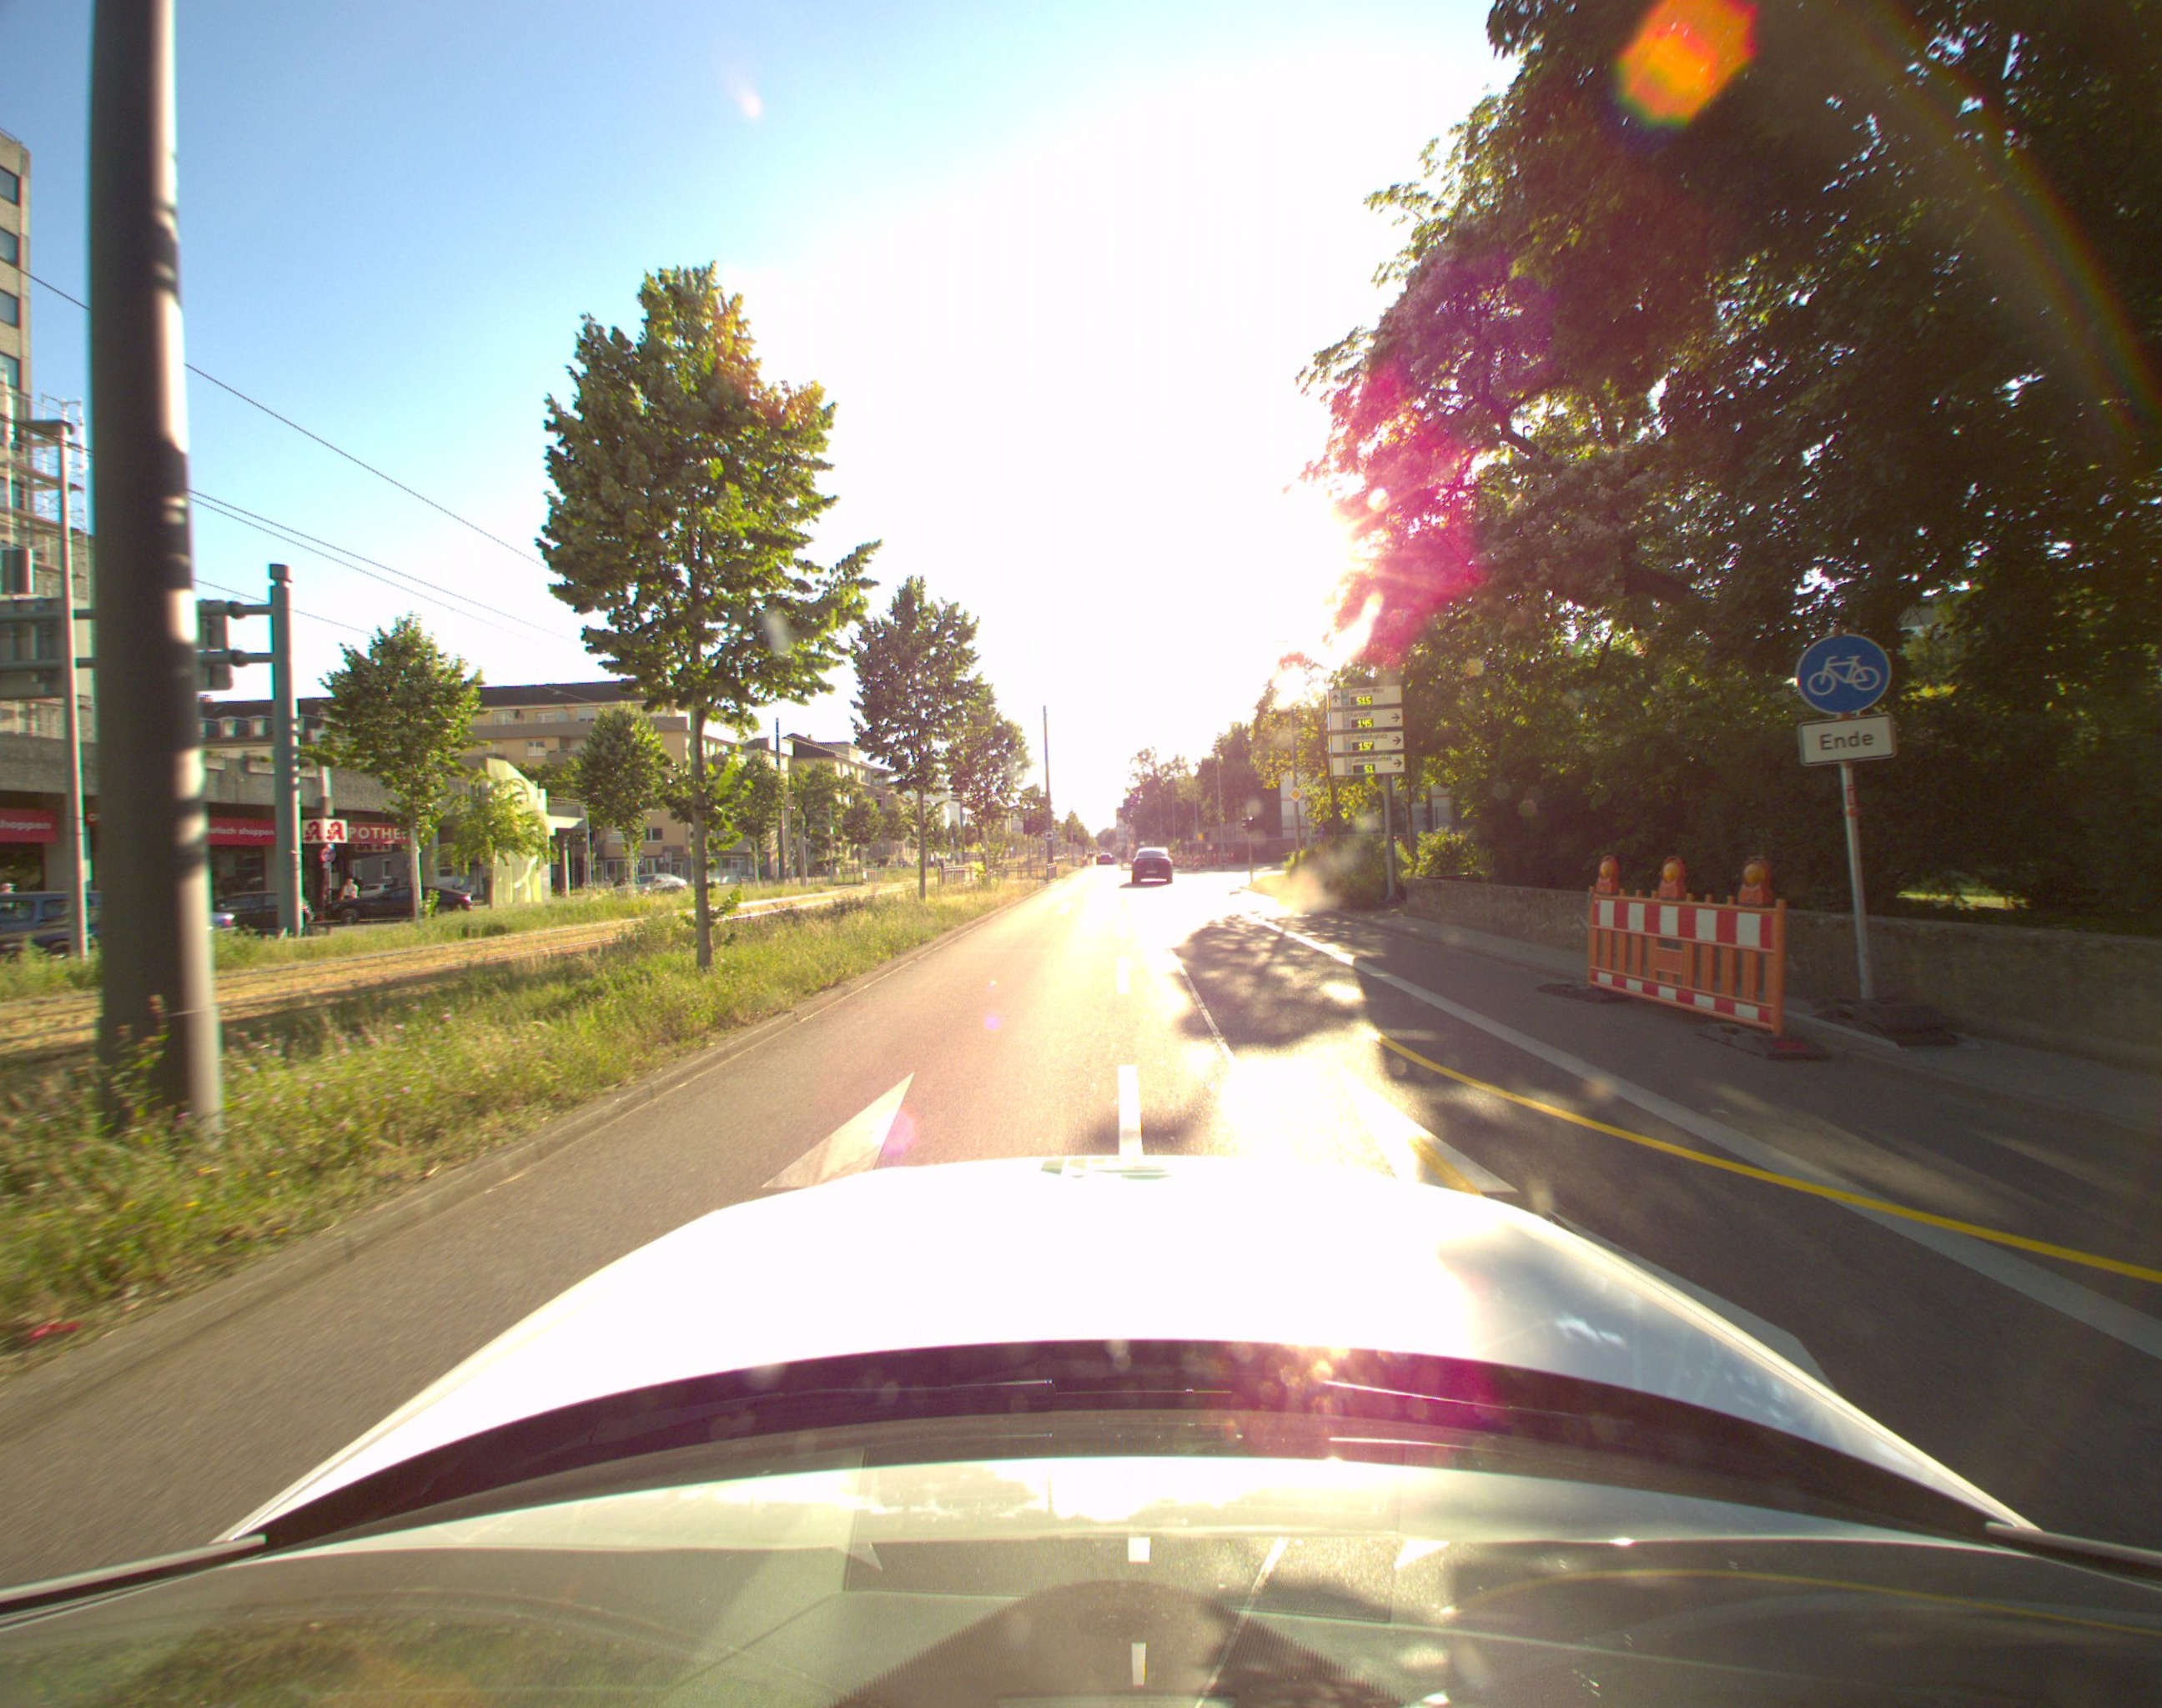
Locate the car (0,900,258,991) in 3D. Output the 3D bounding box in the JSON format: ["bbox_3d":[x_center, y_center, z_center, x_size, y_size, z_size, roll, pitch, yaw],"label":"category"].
[{"bbox_3d":[-23.130,2.088,19.644,1.862,1.702,4.491,0,0,2],"label":"car"}]

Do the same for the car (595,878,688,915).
[{"bbox_3d":[-21.268,2.026,39.682,1.862,1.588,4.642,0,0,2],"label":"car"}]

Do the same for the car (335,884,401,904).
[{"bbox_3d":[-60.943,3.395,69.634,3.972,1.433,1.848,-3,0,1],"label":"car"}]

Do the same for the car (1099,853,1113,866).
[{"bbox_3d":[3.319,0.742,108.829,1.820,1.659,4.002,0,0,2],"label":"car"}]

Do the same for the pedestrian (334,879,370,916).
[{"bbox_3d":[-33.720,1.984,37.681,0.771,1.639,0.883,-2,0,1],"label":"pedestrian"}]

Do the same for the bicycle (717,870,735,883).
[{"bbox_3d":[-35.382,2.226,81.237,0.528,1.137,2.587,-2,0,2],"label":"bicycle"}]

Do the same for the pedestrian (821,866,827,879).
[{"bbox_3d":[-30.223,2.167,95.681,0.522,1.555,0.444,-2,0,-29],"label":"pedestrian"}]

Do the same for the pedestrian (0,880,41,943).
[{"bbox_3d":[-35.299,1.897,27.063,0.545,2.013,0.655,-2,0,2],"label":"pedestrian"}]

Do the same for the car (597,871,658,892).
[{"bbox_3d":[-38.250,2.322,68.754,3.972,1.496,1.848,-3,0,1],"label":"car"}]

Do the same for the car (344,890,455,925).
[{"bbox_3d":[-28.485,2.202,34.102,3.485,1.274,1.602,0,-1,-42],"label":"car"}]

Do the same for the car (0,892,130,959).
[{"bbox_3d":[-29.461,1.968,22.284,4.217,1.690,1.602,0,-1,-39],"label":"car"}]

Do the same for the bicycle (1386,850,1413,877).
[{"bbox_3d":[12.981,0.378,33.244,0.426,1.061,1.913,-2,0,3],"label":"bicycle"}]

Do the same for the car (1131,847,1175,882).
[{"bbox_3d":[3.529,0.523,40.501,1.997,1.659,4.002,0,0,2],"label":"car"}]

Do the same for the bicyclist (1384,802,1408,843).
[{"bbox_3d":[12.849,-1.272,33.242,0.581,1.614,0.904,-2,0,2],"label":"bicyclist"}]

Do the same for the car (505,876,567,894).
[{"bbox_3d":[-46.634,2.642,69.757,3.972,1.303,2.001,-2,0,2],"label":"car"}]

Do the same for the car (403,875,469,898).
[{"bbox_3d":[-54.884,2.762,69.309,3.972,1.743,2.001,-2,0,2],"label":"car"}]

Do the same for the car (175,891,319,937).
[{"bbox_3d":[-29.598,2.084,29.058,3.485,1.402,1.602,0,-1,-42],"label":"car"}]
